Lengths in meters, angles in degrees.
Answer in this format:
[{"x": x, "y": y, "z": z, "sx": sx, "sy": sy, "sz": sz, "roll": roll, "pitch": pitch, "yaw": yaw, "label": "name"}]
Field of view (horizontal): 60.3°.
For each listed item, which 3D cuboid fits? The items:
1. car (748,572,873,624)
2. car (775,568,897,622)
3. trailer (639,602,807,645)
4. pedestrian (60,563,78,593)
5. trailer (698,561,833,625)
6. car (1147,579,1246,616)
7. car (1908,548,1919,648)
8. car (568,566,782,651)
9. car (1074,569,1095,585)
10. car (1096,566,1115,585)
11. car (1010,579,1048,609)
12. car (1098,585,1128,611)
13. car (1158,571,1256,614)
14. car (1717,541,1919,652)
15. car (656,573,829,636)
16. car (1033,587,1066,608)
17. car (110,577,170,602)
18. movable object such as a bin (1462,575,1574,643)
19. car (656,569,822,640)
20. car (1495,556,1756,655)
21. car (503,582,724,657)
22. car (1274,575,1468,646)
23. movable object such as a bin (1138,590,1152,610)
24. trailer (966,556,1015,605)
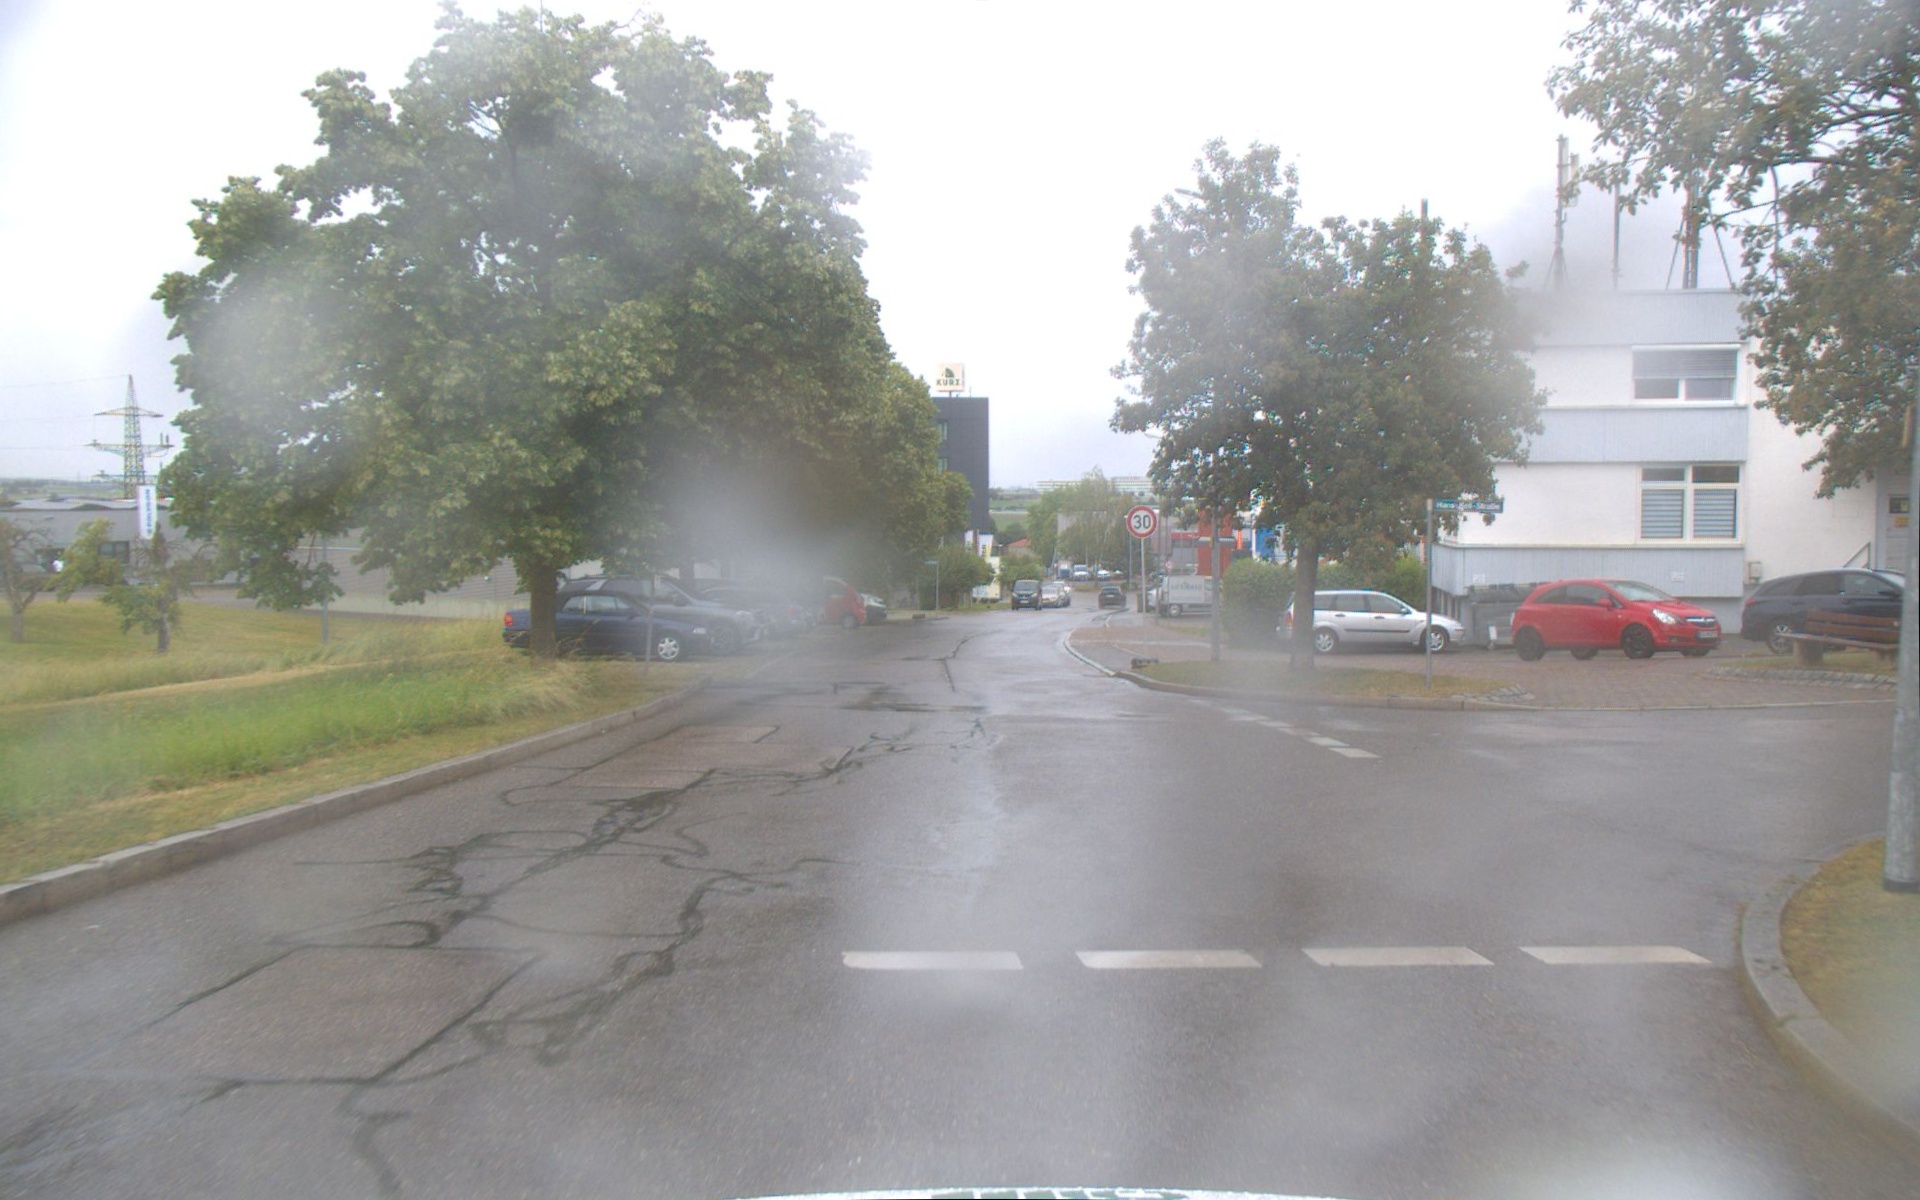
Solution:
[{"x": -5.143, "y": -0.064, "z": 57.309, "sx": 4.108, "sy": 1.752, "sz": 1.756, "roll": -1, "pitch": 0, "yaw": 2, "label": "car"}, {"x": -4.649, "y": -0.175, "z": 62.345, "sx": 4.208, "sy": 1.939, "sz": 1.863, "roll": -1, "pitch": 0, "yaw": 10, "label": "car"}, {"x": -5.896, "y": 0.570, "z": 41.480, "sx": 3.859, "sy": 0.978, "sz": 2.001, "roll": 1, "pitch": 1, "yaw": 3, "label": "trailer"}, {"x": -59.356, "y": -1.463, "z": 110.194, "sx": 0.634, "sy": 2.049, "sz": 0.848, "roll": 0, "pitch": 0, "yaw": 37, "label": "pedestrian"}, {"x": -6.385, "y": -0.225, "z": 54.545, "sx": 4.123, "sy": 2.019, "sz": 1.775, "roll": -1, "pitch": 0, "yaw": 5, "label": "trailer"}, {"x": 11.045, "y": -0.128, "z": 77.391, "sx": 4.499, "sy": 1.565, "sz": 2.081, "roll": -2, "pitch": 0, "yaw": 7, "label": "car"}, {"x": 19.551, "y": -0.107, "z": 29.307, "sx": 1.836, "sy": 1.830, "sz": 4.407, "roll": 2, "pitch": -4, "yaw": -33, "label": "car"}, {"x": -6.161, "y": 0.180, "z": 36.119, "sx": 4.277, "sy": 1.752, "sz": 2.045, "roll": -1, "pitch": 0, "yaw": 1, "label": "car"}, {"x": 17.304, "y": -3.173, "z": 230.310, "sx": 2.222, "sy": 2.049, "sz": 3.993, "roll": -1, "pitch": 0, "yaw": -8, "label": "car"}, {"x": 20.278, "y": -3.414, "z": 230.363, "sx": 2.148, "sy": 2.502, "sz": 3.999, "roll": -1, "pitch": 0, "yaw": -1, "label": "car"}, {"x": 4.389, "y": -0.392, "z": 104.173, "sx": 1.874, "sy": 1.863, "sz": 4.852, "roll": 0, "pitch": 0, "yaw": 9, "label": "car"}, {"x": 10.452, "y": -0.120, "z": 113.177, "sx": 1.915, "sy": 1.705, "sz": 4.474, "roll": -1, "pitch": -1, "yaw": 4, "label": "car"}, {"x": 11.045, "y": -0.343, "z": 74.275, "sx": 4.248, "sy": 1.804, "sz": 2.090, "roll": -1, "pitch": 0, "yaw": 6, "label": "car"}, {"x": 16.157, "y": -0.061, "z": 29.201, "sx": 1.835, "sy": 1.612, "sz": 4.777, "roll": 0, "pitch": -5, "yaw": -32, "label": "car"}, {"x": -6.113, "y": 0.120, "z": 46.721, "sx": 4.520, "sy": 1.617, "sz": 1.807, "roll": 2, "pitch": 0, "yaw": 5, "label": "car"}, {"x": 6.461, "y": -0.204, "z": 118.682, "sx": 1.914, "sy": 1.486, "sz": 5.252, "roll": -1, "pitch": 0, "yaw": 8, "label": "car"}, {"x": -55.775, "y": -0.709, "z": 112.519, "sx": 3.917, "sy": 1.646, "sz": 1.994, "roll": 0, "pitch": 1, "yaw": 34, "label": "car"}, {"x": 13.407, "y": 0.211, "z": 39.855, "sx": 2.218, "sy": 1.529, "sz": 1.734, "roll": -2, "pitch": 0, "yaw": 7, "label": "movable object such as a bin"}, {"x": -5.861, "y": 0.106, "z": 44.157, "sx": 3.987, "sy": 1.752, "sz": 2.027, "roll": 2, "pitch": 0, "yaw": 6, "label": "car"}, {"x": 12.140, "y": 0.146, "z": 30.462, "sx": 1.831, "sy": 1.612, "sz": 4.287, "roll": 0, "pitch": -2, "yaw": -27, "label": "car"}, {"x": -6.941, "y": 0.391, "z": 33.451, "sx": 4.128, "sy": 1.456, "sz": 1.773, "roll": 0, "pitch": 0, "yaw": -3, "label": "car"}, {"x": 9.726, "y": 0.252, "z": 39.417, "sx": 4.221, "sy": 1.612, "sz": 1.859, "roll": -1, "pitch": 0, "yaw": 4, "label": "car"}, {"x": 10.220, "y": 0.001, "z": 91.473, "sx": 0.755, "sy": 1.048, "sz": 0.809, "roll": 0, "pitch": 0, "yaw": 9, "label": "movable object such as a bin"}, {"x": 2.742, "y": -1.742, "z": 147.669, "sx": 1.991, "sy": 4.276, "sz": 4.119, "roll": -1, "pitch": 0, "yaw": -44, "label": "trailer"}]
